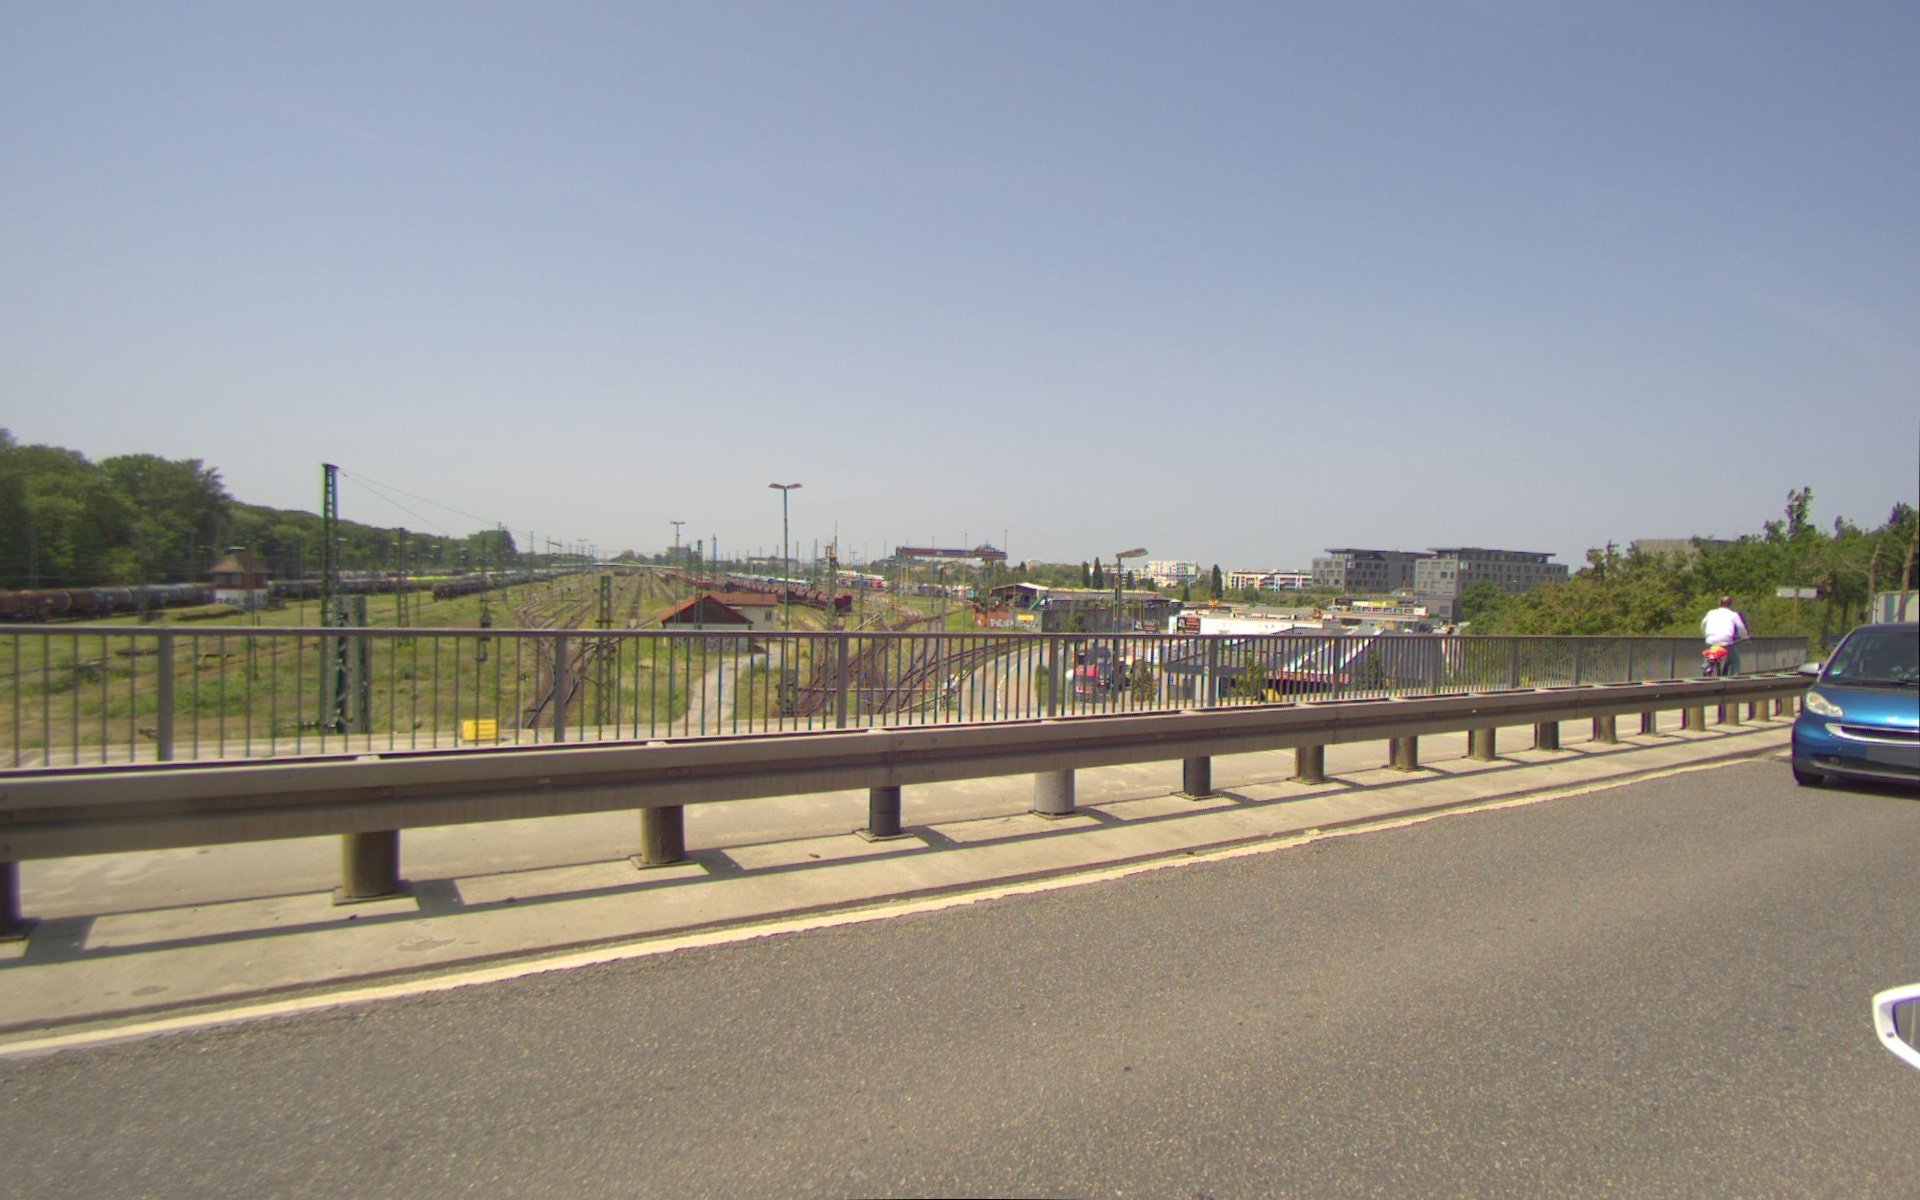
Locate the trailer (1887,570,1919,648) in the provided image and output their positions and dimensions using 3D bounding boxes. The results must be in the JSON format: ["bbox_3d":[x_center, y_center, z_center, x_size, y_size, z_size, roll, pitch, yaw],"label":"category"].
[{"bbox_3d":[56.601,0.555,57.058,3.518,4.443,11.414,1,0,31],"label":"trailer"}]

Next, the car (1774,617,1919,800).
[{"bbox_3d":[9.089,0.944,9.456,2.722,1.506,1.586,0,1,-36],"label":"car"}]

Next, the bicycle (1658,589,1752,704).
[{"bbox_3d":[12.526,0.738,16.864,2.161,1.826,0.693,0,1,-38],"label":"bicycle"}]

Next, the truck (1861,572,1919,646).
[{"bbox_3d":[60.116,0.542,63.503,3.522,4.500,6.499,1,1,32],"label":"truck"}]

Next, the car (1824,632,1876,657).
[{"bbox_3d":[55.687,2.760,62.887,1.652,1.462,4.121,0,-1,31],"label":"car"}]

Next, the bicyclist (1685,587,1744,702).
[{"bbox_3d":[12.896,0.743,17.166,0.706,1.911,0.619,0,1,-38],"label":"bicyclist"}]
